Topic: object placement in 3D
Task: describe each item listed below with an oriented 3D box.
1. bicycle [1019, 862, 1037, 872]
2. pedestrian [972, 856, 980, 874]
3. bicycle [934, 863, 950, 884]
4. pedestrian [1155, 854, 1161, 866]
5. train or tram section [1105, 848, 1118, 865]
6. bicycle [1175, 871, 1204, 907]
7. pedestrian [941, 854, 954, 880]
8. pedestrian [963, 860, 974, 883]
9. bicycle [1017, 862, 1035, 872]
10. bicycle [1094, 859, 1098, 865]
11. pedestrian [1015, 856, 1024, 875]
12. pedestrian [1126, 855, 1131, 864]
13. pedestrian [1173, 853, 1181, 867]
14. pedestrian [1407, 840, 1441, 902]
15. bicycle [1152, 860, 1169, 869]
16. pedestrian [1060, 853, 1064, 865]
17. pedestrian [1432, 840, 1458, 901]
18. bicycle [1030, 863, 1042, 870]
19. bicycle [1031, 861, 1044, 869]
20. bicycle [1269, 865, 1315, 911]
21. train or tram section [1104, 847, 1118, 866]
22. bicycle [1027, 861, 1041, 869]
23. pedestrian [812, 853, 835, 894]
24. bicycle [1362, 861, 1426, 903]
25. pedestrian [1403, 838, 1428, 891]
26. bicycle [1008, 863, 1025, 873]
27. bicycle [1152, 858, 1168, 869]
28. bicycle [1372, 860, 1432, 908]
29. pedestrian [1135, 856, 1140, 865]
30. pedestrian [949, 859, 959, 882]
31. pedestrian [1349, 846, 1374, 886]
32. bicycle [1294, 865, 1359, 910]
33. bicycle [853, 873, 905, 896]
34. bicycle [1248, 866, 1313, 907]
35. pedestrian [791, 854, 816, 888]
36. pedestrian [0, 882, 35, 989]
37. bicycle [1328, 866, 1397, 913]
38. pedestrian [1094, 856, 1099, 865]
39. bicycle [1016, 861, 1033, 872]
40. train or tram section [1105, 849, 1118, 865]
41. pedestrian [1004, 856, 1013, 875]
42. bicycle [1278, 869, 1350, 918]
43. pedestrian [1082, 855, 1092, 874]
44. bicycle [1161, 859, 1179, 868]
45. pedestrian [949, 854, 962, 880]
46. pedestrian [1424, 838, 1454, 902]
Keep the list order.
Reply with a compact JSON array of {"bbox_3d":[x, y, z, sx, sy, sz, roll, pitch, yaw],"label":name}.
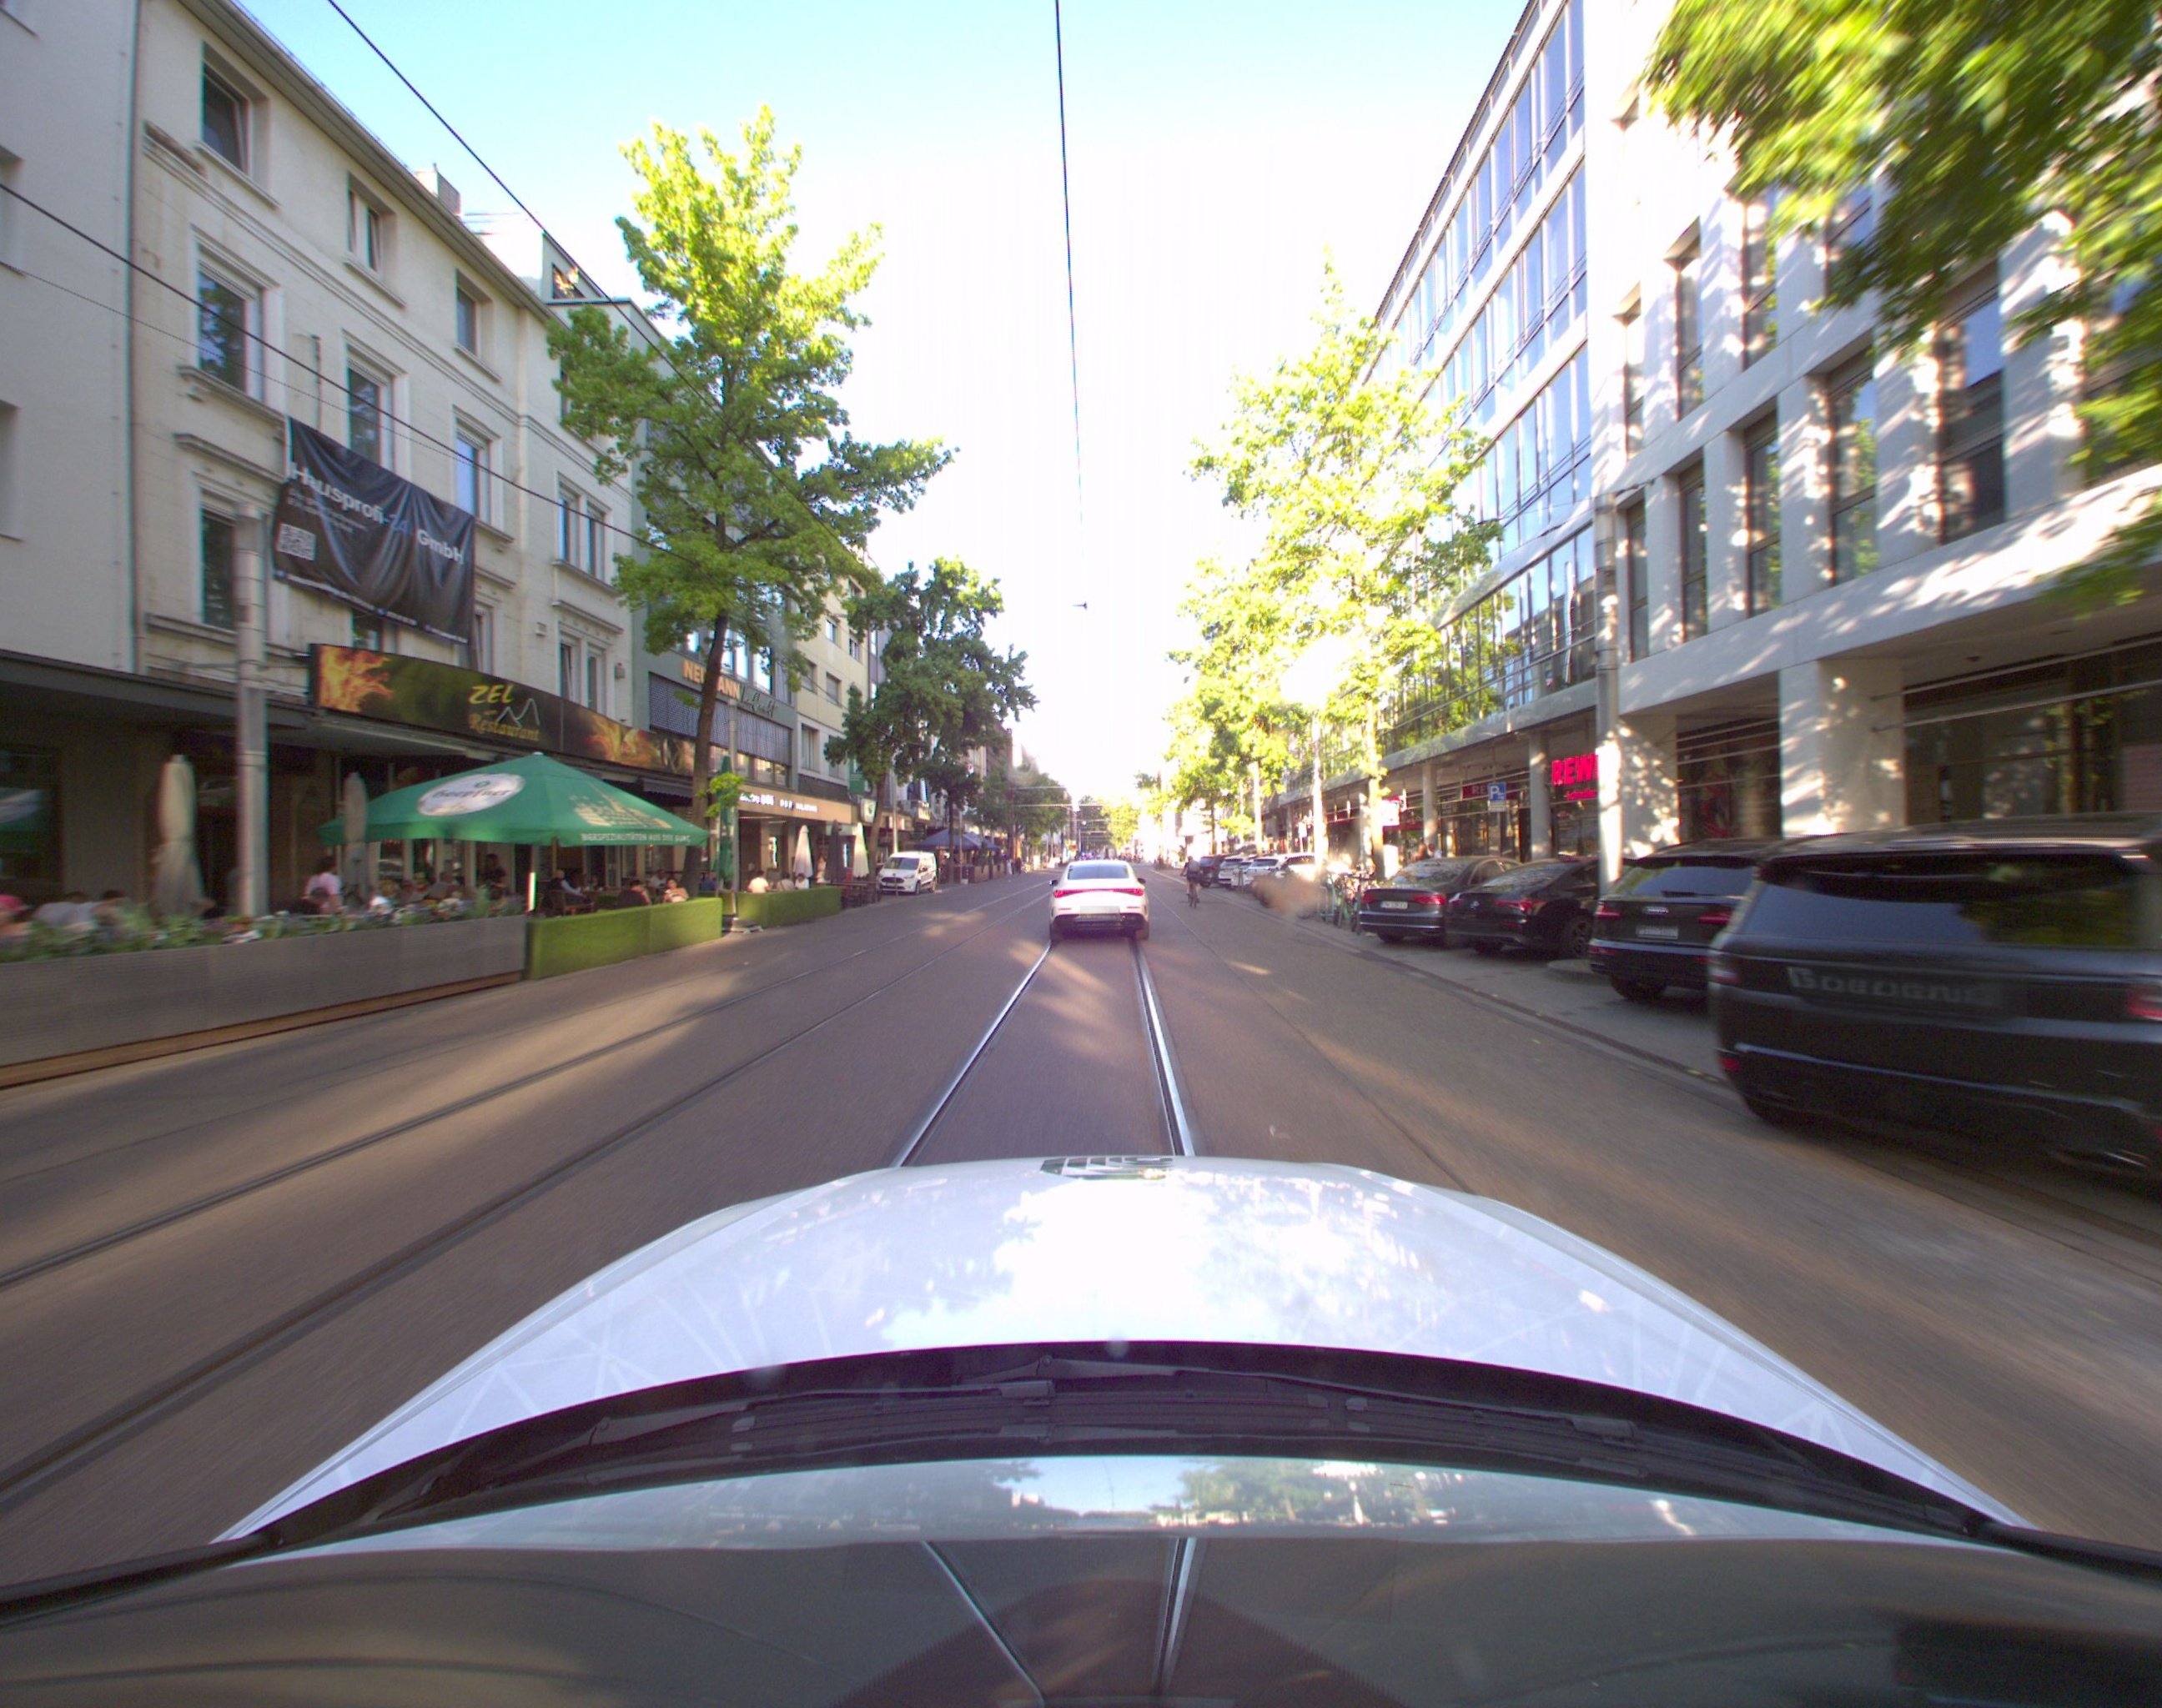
[{"bbox_3d":[-5.531,1.336,84.456,1.841,1.077,0.377,0,-1,-2],"label":"bicycle"},{"bbox_3d":[-9.170,0.930,71.063,0.595,1.533,0.672,1,0,3],"label":"pedestrian"},{"bbox_3d":[-8.065,1.117,47.232,0.699,1.121,2.076,2,0,-15],"label":"bicycle"},{"bbox_3d":[11.914,0.874,125.490,0.746,1.785,0.767,-3,-1,1],"label":"pedestrian"},{"bbox_3d":[6.484,0.564,173.354,2.684,3.516,12.551,-1,0,2],"label":"train or tram section"},{"bbox_3d":[3.313,1.045,24.690,0.714,0.995,2.065,1,0,11],"label":"bicycle"},{"bbox_3d":[-8.470,0.826,51.569,0.671,1.607,0.720,0,-1,1],"label":"pedestrian"},{"bbox_3d":[-6.806,1.039,49.303,0.547,1.356,0.583,0,-1,1],"label":"pedestrian"},{"bbox_3d":[-5.623,1.325,82.856,1.784,1.077,0.377,0,-1,-2],"label":"bicycle"},{"bbox_3d":[2.908,1.583,154.571,0.797,1.142,2.257,1,0,1],"label":"bicycle"},{"bbox_3d":[-5.079,0.972,67.001,0.620,1.550,0.853,1,0,3],"label":"pedestrian"},{"bbox_3d":[9.248,1.078,157.865,0.957,1.785,0.804,-3,-1,1],"label":"pedestrian"},{"bbox_3d":[12.951,0.789,109.583,0.896,1.744,0.690,-4,-1,1],"label":"pedestrian"},{"bbox_3d":[9.544,0.456,22.679,0.679,1.696,0.548,-1,-1,-11],"label":"pedestrian"},{"bbox_3d":[10.082,1.275,103.053,2.113,1.096,0.608,0,-1,-9],"label":"bicycle"},{"bbox_3d":[-2.801,0.755,122.620,0.570,1.929,0.540,-1,-1,-2],"label":"pedestrian"},{"bbox_3d":[10.262,0.452,22.976,0.514,1.696,0.551,-1,-1,6],"label":"pedestrian"},{"bbox_3d":[-5.554,1.539,100.807,1.486,0.783,0.345,0,-1,3],"label":"bicycle"},{"bbox_3d":[-4.930,1.241,91.934,1.486,0.783,0.345,0,-1,3],"label":"bicycle"},{"bbox_3d":[5.979,0.960,23.035,0.475,1.163,1.705,-5,-1,42],"label":"bicycle"},{"bbox_3d":[5.954,0.507,160.805,2.684,3.516,12.551,-1,0,2],"label":"train or tram section"},{"bbox_3d":[-5.242,1.206,90.585,1.486,0.841,0.345,0,-1,3],"label":"bicycle"},{"bbox_3d":[-10.280,0.774,32.534,0.645,1.574,0.700,2,-1,2],"label":"pedestrian"},{"bbox_3d":[9.233,0.826,24.018,1.780,1.106,0.627,-4,-1,-24],"label":"bicycle"},{"bbox_3d":[11.406,0.348,27.774,0.555,1.750,0.525,-3,-1,2],"label":"pedestrian"},{"bbox_3d":[-6.355,1.397,80.186,1.586,0.930,0.378,0,-1,8],"label":"bicycle"},{"bbox_3d":[9.718,1.152,100.077,1.908,1.281,0.608,-3,-1,-9],"label":"bicycle"},{"bbox_3d":[8.718,0.797,22.105,1.273,1.173,0.860,-4,1,-29],"label":"bicycle"},{"bbox_3d":[10.884,1.281,157.315,0.957,1.785,0.804,-3,-1,1],"label":"pedestrian"},{"bbox_3d":[-7.698,0.990,49.380,0.547,1.429,0.583,0,-1,1],"label":"pedestrian"},{"bbox_3d":[11.723,0.507,34.024,0.711,1.624,0.883,-2,-1,3],"label":"pedestrian"},{"bbox_3d":[6.850,0.930,22.726,1.697,1.106,0.627,-4,-1,-24],"label":"bicycle"},{"bbox_3d":[-8.089,1.208,32.683,0.826,0.865,1.872,1,0,41],"label":"bicycle"},{"bbox_3d":[6.133,0.986,24.993,1.901,1.119,0.661,-3,-1,-27],"label":"bicycle"},{"bbox_3d":[-12.164,0.727,35.718,0.767,1.467,0.765,2,-1,0],"label":"pedestrian"},{"bbox_3d":[-12.225,0.904,8.942,0.550,1.161,0.687,1,0,3],"label":"pedestrian"},{"bbox_3d":[7.471,0.929,21.612,1.679,1.074,0.726,-4,1,-28],"label":"bicycle"},{"bbox_3d":[2.912,1.261,154.585,0.797,1.782,0.849,1,-1,1],"label":"pedestrian"},{"bbox_3d":[-6.038,1.311,87.006,1.838,1.141,0.377,0,-1,3],"label":"bicycle"},{"bbox_3d":[6.976,0.622,185.191,2.684,3.516,11.149,-1,0,2],"label":"train or tram section"},{"bbox_3d":[-5.919,0.919,66.529,0.620,1.509,0.834,1,0,3],"label":"pedestrian"},{"bbox_3d":[5.935,0.993,20.785,1.567,1.088,0.861,-4,1,-28],"label":"bicycle"},{"bbox_3d":[0.538,0.955,75.945,0.838,1.801,0.791,1,-1,3],"label":"pedestrian"},{"bbox_3d":[11.162,1.224,102.353,2.114,1.096,0.607,-1,-1,-11],"label":"bicycle"},{"bbox_3d":[-8.244,0.846,53.378,0.715,1.724,0.675,0,-1,1],"label":"pedestrian"},{"bbox_3d":[10.054,0.450,22.889,0.521,1.750,0.559,-3,-1,4],"label":"pedestrian"}]
